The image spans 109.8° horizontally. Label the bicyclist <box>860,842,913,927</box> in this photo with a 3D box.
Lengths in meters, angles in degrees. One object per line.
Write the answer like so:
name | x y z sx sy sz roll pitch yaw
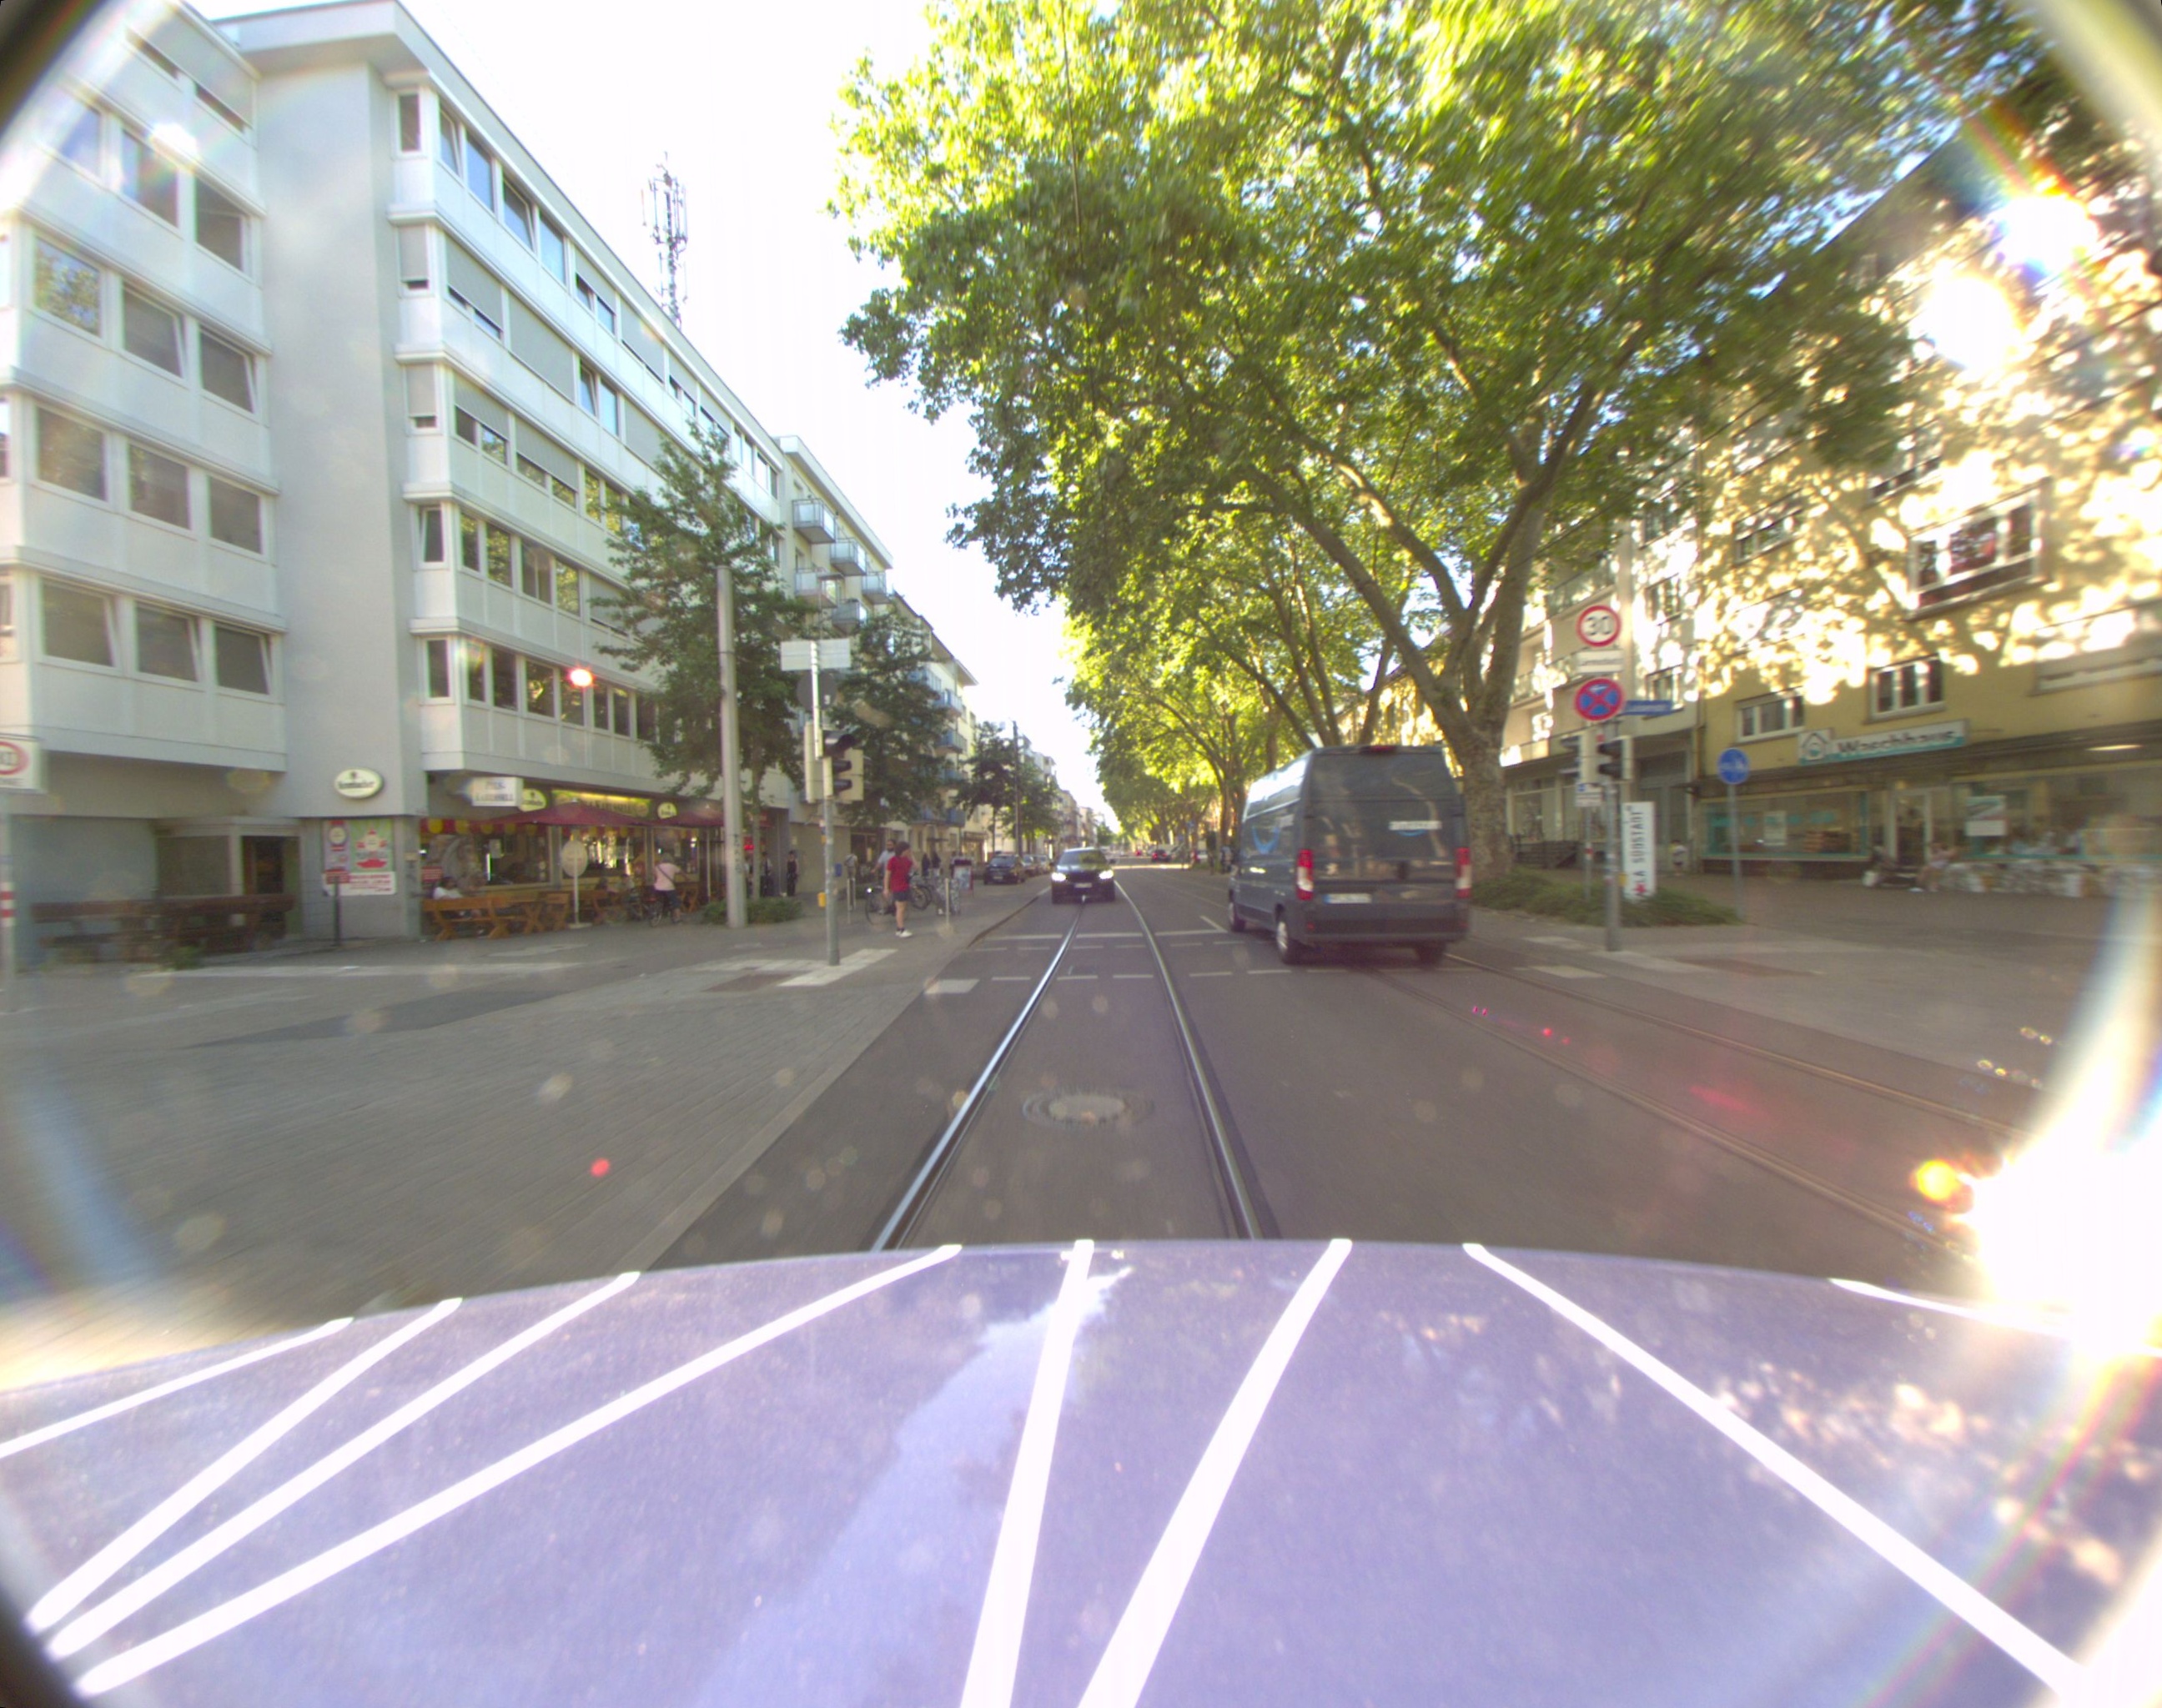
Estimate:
bicyclist | -4.401 0.662 17.250 0.769 1.821 1.099 -3 1 4

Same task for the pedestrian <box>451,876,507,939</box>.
pedestrian | -12.968 1.138 16.379 0.536 1.280 0.715 -2 1 5

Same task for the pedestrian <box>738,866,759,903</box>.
pedestrian | -11.690 1.071 26.728 0.510 1.269 0.625 -4 2 -34

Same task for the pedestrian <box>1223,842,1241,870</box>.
pedestrian | 9.753 0.133 49.083 0.768 1.725 0.718 -1 2 45

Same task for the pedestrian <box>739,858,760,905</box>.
pedestrian | -11.619 0.957 26.633 0.508 1.619 0.517 -4 2 -34

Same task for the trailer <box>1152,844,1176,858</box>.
trailer | 10.196 -0.393 93.674 2.452 1.623 6.583 1 1 1

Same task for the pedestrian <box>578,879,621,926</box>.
pedestrian | -11.724 1.175 18.517 0.643 1.073 0.522 -3 1 1

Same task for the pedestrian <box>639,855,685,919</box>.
pedestrian | -11.201 0.869 20.330 0.812 1.649 0.680 -2 2 30

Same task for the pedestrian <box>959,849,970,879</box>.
pedestrian | -7.266 0.643 47.308 0.477 1.841 0.664 -2 1 0

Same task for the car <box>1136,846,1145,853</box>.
car | 15.858 -1.129 202.688 1.998 1.723 4.400 -3 1 4

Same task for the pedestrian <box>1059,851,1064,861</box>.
pedestrian | -3.286 0.301 128.111 0.697 1.685 0.678 -3 1 3

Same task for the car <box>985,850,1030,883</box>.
car | -3.915 0.643 40.902 1.763 1.578 4.329 2 1 3

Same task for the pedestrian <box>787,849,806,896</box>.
pedestrian | -11.117 0.729 29.693 0.432 1.786 0.489 -3 2 2

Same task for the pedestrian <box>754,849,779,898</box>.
pedestrian | -11.807 0.731 28.525 0.633 1.795 0.525 -4 2 -44

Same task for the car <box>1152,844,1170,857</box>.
car | 10.416 -0.473 99.050 1.927 1.674 4.182 1 1 1

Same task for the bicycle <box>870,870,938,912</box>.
bicycle | -5.105 1.060 21.974 1.820 1.094 0.481 -3 1 -5

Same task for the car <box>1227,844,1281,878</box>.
car | 8.788 0.319 38.920 1.921 1.553 4.284 -3 1 2

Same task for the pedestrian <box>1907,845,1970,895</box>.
pedestrian | 18.799 0.332 16.668 0.579 1.041 0.711 -3 1 2

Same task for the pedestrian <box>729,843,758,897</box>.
pedestrian | -12.432 0.592 27.995 0.507 1.943 0.793 -2 2 13

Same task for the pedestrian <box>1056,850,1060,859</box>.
pedestrian | -3.962 0.117 130.469 0.590 1.493 0.600 -3 1 3

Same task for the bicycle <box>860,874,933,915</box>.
bicycle | -4.983 1.094 20.552 1.820 0.988 0.481 -3 1 1

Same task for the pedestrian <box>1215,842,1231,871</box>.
pedestrian | 8.931 0.171 47.657 0.769 1.767 0.715 -2 2 26

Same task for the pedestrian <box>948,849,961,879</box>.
pedestrian | -7.876 0.607 47.287 0.663 1.841 0.539 -2 1 2

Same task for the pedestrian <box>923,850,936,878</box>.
pedestrian | -9.066 0.600 45.430 0.597 1.668 0.934 1 1 1

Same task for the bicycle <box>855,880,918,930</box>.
bicycle | -4.381 1.129 17.264 0.790 0.932 1.939 -3 1 4

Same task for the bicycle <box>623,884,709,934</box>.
bicycle | -9.621 1.243 17.707 0.678 0.957 2.022 -2 1 6

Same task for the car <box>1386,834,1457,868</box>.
car | 19.007 -0.222 42.684 1.998 1.723 4.898 -3 1 4

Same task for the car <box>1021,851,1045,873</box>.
car | -3.479 0.571 55.960 1.447 1.528 2.881 0 1 3

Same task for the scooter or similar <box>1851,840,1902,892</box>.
scooter or similar | 18.365 0.268 17.553 0.642 1.160 0.676 -2 2 30

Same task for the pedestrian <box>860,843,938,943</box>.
pedestrian | -3.333 0.701 13.967 1.046 1.748 0.878 -2 1 9

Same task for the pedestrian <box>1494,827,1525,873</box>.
pedestrian | 17.700 -0.178 31.421 0.746 1.859 0.864 -3 1 1

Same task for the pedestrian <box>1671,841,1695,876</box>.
pedestrian | 19.331 0.127 24.401 0.421 1.099 0.437 -3 1 -7

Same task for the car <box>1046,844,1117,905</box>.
car | 0.128 0.594 24.937 1.998 1.723 4.400 -2 1 4

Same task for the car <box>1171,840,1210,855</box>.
car | 15.529 -0.943 107.998 5.133 1.984 1.999 -3 1 -1

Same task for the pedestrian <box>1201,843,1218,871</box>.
pedestrian | 8.220 0.209 48.688 0.772 1.725 0.712 -4 2 -42

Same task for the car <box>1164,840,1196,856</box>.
car | 15.170 -0.947 116.646 4.660 2.293 2.000 -3 1 3

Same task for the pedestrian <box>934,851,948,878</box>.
pedestrian | -8.387 0.631 45.431 0.643 1.628 0.870 0 1 1

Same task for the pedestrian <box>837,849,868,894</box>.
pedestrian | -9.247 0.698 30.762 0.997 1.774 0.591 -4 2 -37

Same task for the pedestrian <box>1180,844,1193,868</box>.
pedestrian | 8.235 0.156 59.403 0.700 1.781 0.801 -3 1 -9

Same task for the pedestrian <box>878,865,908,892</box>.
pedestrian | -7.583 0.994 30.629 1.001 1.021 0.661 -3 1 1

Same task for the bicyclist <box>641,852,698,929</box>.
bicyclist | -9.647 0.838 17.844 0.678 1.707 0.965 -2 1 6

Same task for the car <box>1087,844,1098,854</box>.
car | 2.546 -1.172 164.813 1.990 2.085 4.470 -3 1 4

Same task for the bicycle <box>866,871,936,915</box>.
bicycle | -5.043 1.088 21.354 1.820 1.094 0.497 -3 1 -5

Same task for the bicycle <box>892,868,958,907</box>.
bicycle | -4.658 1.010 22.731 1.819 1.094 0.525 -2 1 2

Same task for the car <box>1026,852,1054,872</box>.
car | -3.183 0.589 59.945 1.790 1.528 4.128 1 1 3

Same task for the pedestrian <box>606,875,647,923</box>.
pedestrian | -11.583 1.132 19.371 0.660 1.168 0.522 -3 1 1

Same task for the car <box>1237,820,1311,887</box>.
car | 8.235 -0.092 33.007 2.112 2.563 6.025 -2 1 5

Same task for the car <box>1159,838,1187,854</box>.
car | 15.848 -1.321 131.351 4.660 2.519 2.000 -3 1 3

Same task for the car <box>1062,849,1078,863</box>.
car | -1.615 0.237 114.469 1.957 1.914 4.000 -3 1 4

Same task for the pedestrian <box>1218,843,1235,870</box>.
pedestrian | 9.313 0.160 48.660 0.768 1.725 0.715 -1 2 45

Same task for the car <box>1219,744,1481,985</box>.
car | 3.626 0.078 11.726 2.118 2.722 6.114 -1 1 3

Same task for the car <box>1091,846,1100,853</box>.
car | 3.537 -1.092 184.657 1.867 1.499 4.000 -3 1 4

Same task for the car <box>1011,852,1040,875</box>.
car | -3.753 0.647 52.133 1.626 1.473 3.889 1 1 1
